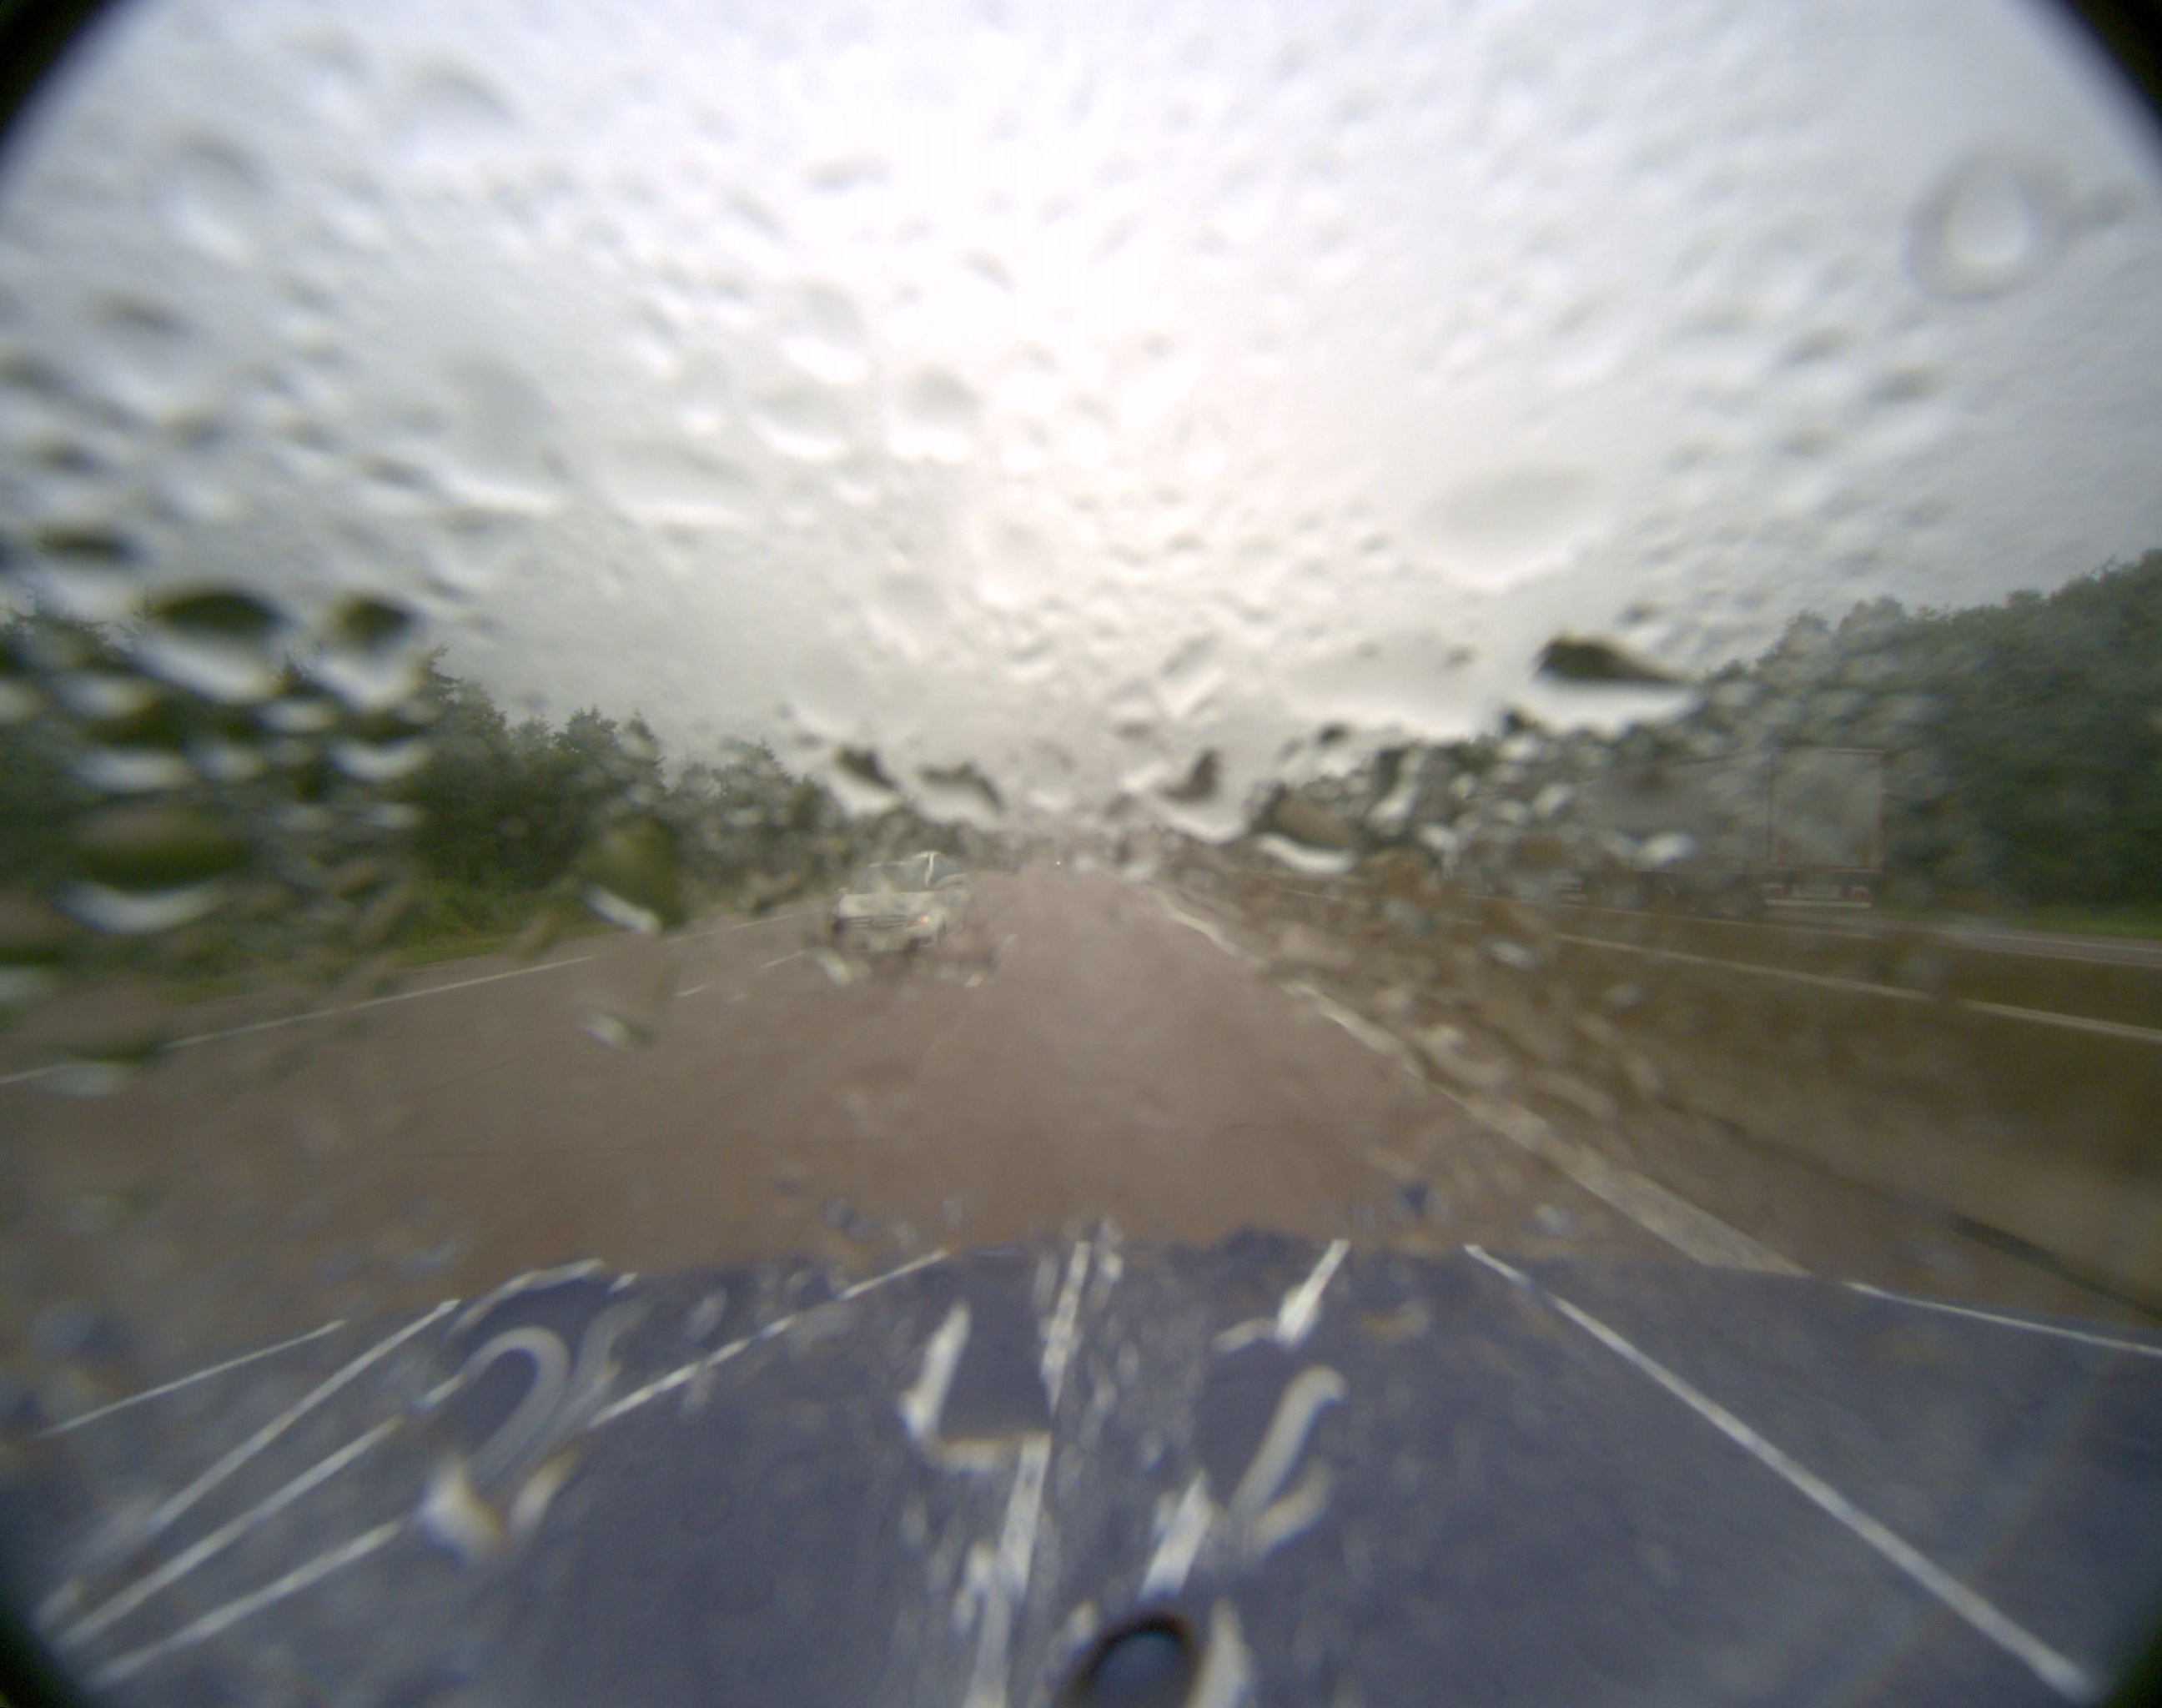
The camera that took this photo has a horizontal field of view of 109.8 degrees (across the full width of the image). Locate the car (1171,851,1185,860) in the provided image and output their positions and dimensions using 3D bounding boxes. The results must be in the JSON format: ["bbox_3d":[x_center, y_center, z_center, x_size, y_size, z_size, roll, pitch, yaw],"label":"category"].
[{"bbox_3d":[16.291,0.184,127.339,1.758,1.471,4.582,1,0,0],"label":"car"}]

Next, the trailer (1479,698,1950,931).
[{"bbox_3d":[16.776,-0.913,22.416,3.439,4.839,12.443,-2,1,0],"label":"trailer"}]

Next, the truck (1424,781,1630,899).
[{"bbox_3d":[16.781,-0.520,29.424,3.481,3.866,7.462,-2,1,0],"label":"truck"}]

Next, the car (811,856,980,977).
[{"bbox_3d":[-3.118,0.960,13.878,1.813,1.718,4.743,-3,0,0],"label":"car"}]

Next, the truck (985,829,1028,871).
[{"bbox_3d":[-7.101,-0.396,73.497,3.242,3.708,7.954,-2,0,0],"label":"truck"}]

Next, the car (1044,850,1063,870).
[{"bbox_3d":[-2.969,0.628,82.331,1.999,2.002,4.276,0,1,-1],"label":"car"}]

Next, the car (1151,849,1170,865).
[{"bbox_3d":[9.462,0.323,90.761,1.793,1.786,3.876,-2,1,1],"label":"car"}]
